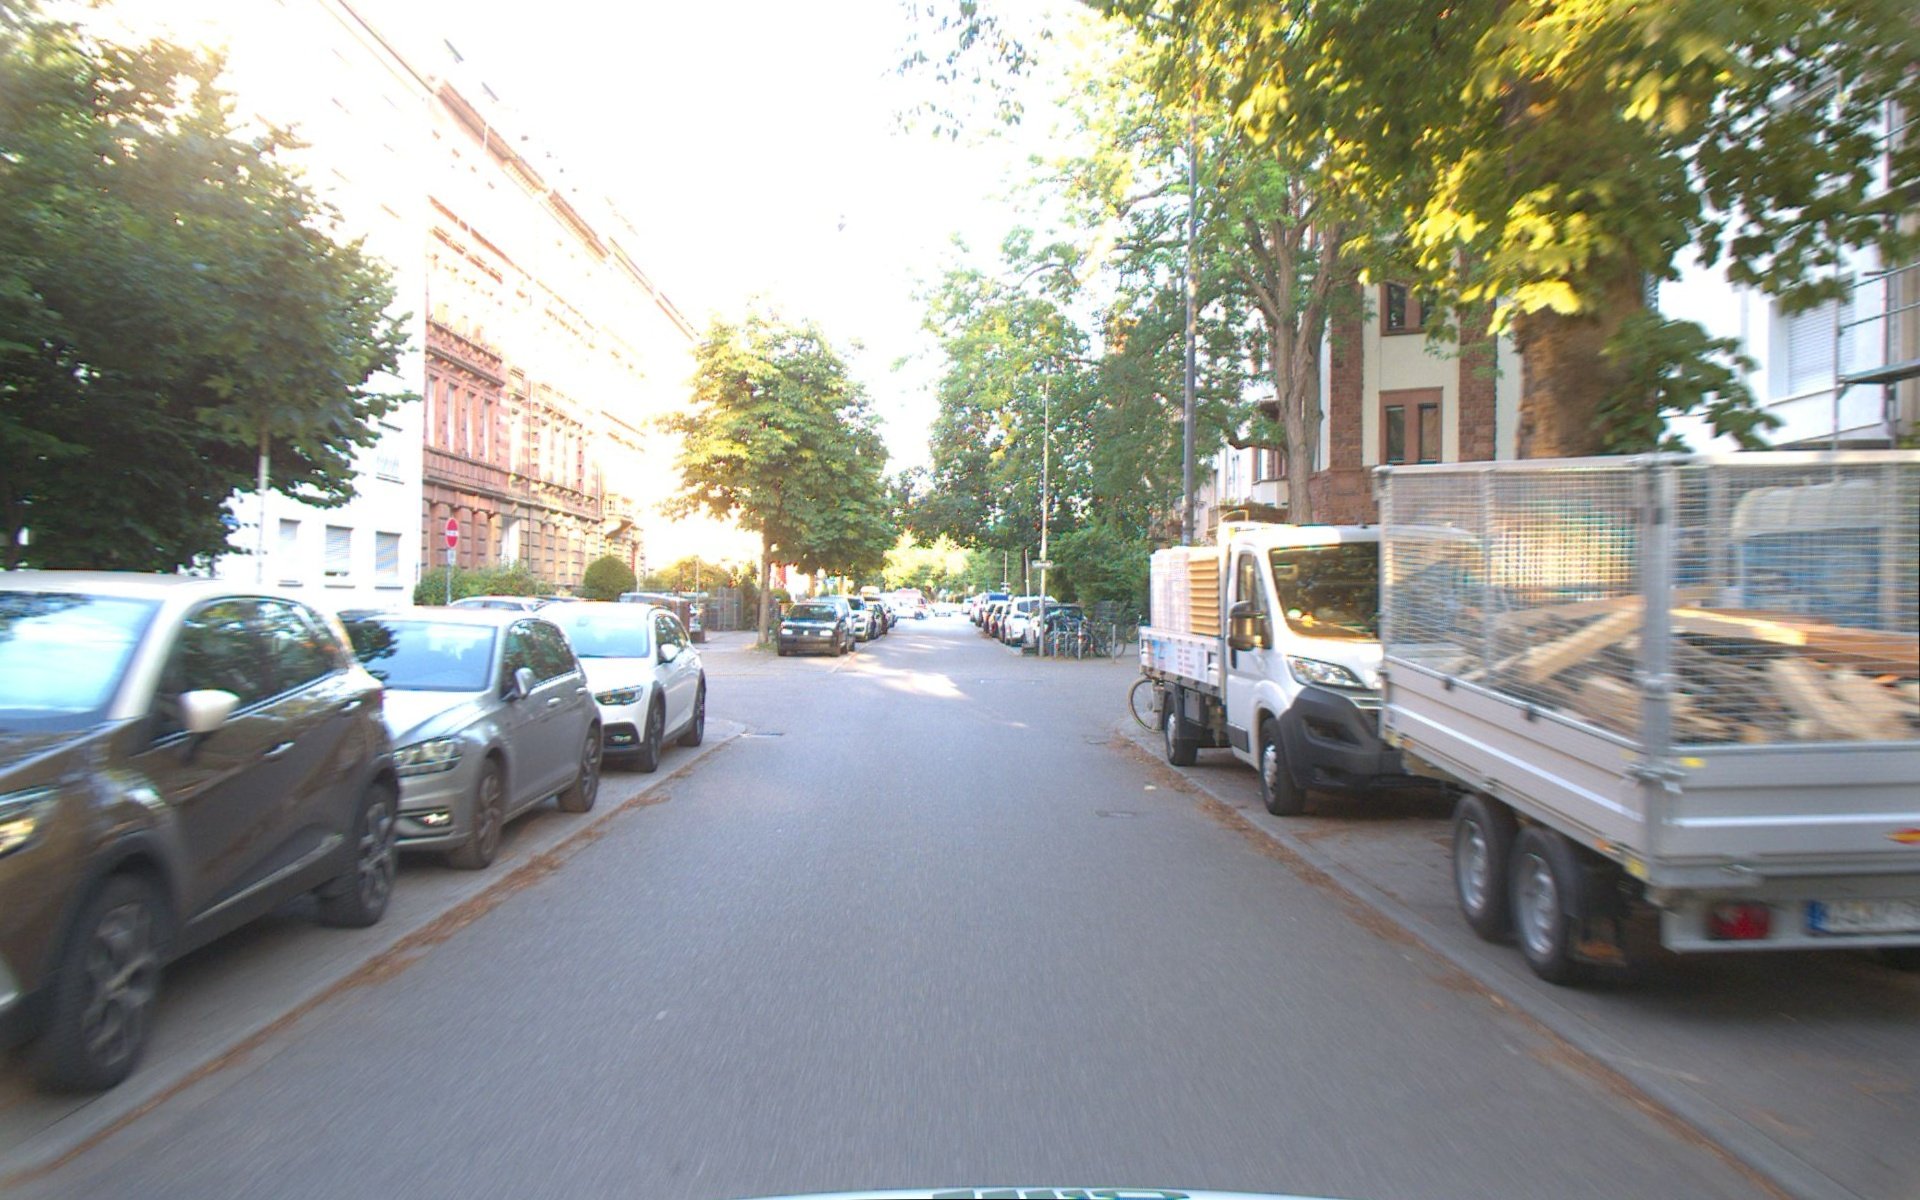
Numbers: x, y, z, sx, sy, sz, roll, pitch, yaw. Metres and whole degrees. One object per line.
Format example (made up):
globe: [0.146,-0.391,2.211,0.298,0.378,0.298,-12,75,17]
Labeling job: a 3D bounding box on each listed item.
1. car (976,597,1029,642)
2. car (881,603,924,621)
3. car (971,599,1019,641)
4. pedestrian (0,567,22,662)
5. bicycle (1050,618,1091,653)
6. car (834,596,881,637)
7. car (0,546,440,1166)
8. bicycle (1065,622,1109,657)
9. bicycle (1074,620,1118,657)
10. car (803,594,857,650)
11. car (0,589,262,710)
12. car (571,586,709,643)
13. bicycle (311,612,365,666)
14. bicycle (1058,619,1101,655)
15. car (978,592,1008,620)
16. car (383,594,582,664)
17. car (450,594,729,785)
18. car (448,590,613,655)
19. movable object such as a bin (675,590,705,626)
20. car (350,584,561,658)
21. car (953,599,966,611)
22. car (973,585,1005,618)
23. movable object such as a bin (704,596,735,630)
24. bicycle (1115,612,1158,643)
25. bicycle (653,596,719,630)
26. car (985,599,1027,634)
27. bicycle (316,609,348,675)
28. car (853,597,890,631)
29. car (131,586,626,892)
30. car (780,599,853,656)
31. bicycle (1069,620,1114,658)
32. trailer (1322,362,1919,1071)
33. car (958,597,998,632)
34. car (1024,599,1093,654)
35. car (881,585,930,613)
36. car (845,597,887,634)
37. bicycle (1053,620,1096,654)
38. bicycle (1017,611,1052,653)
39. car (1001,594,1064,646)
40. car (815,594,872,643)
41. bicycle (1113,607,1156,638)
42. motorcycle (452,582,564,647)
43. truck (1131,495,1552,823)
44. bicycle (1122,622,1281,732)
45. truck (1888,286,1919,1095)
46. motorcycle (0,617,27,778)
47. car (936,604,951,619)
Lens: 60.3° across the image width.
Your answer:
car: [1.565,0.742,62.771,1.653,1.634,4.207,1,-1,-3]
car: [-4.884,1.037,140.675,3.547,1.487,1.605,1,0,-5]
car: [1.381,0.808,67.342,1.653,1.634,3.746,1,-1,-3]
pedestrian: [-17.662,0.255,30.471,0.527,1.711,0.579,2,2,-21]
bicycle: [3.209,1.025,48.141,1.210,0.968,0.327,0,1,-29]
car: [-4.137,0.684,67.022,1.681,1.594,3.780,1,-1,-1]
car: [-3.353,0.615,5.980,1.656,1.591,4.400,3,0,-3]
bicycle: [3.567,1.108,46.441,1.205,0.980,0.329,0,1,-18]
bicycle: [3.774,1.061,45.911,1.200,1.005,0.330,-1,1,-4]
car: [-4.004,0.659,51.160,1.564,1.631,3.741,1,0,-4]
car: [-12.157,0.649,22.810,4.372,1.579,1.705,0,1,-11]
car: [-10.249,0.460,53.179,4.011,1.554,1.708,4,0,-2]
bicycle: [-12.782,0.787,34.025,0.387,1.081,1.878,1,0,0]
bicycle: [3.375,1.048,46.831,1.207,0.974,0.328,0,1,-23]
car: [1.928,0.362,97.035,1.508,1.548,3.429,1,-1,-3]
car: [-11.006,0.639,38.238,4.005,1.472,1.819,1,1,9]
car: [-3.488,0.758,16.466,1.655,1.528,4.738,3,0,0]
car: [-10.585,0.533,40.895,3.487,1.472,1.819,1,1,8]
movable object such as a bin: [-11.240,0.338,68.861,1.078,1.439,1.001,3,1,-15]
car: [-10.904,0.427,35.833,4.005,1.472,1.710,1,1,8]
car: [-0.080,0.759,240.253,1.681,1.624,3.482,1,0,-1]
car: [1.744,0.113,101.022,1.646,1.975,3.878,1,-1,-3]
movable object such as a bin: [-10.037,0.522,69.048,0.991,1.344,1.005,3,1,4]
bicycle: [6.158,0.958,57.735,1.479,1.052,0.330,-1,1,-3]
bicycle: [-11.031,0.518,66.584,2.475,1.212,0.644,3,0,5]
car: [1.995,0.730,72.658,1.652,1.466,4.208,-1,0,-1]
bicycle: [-11.619,0.762,30.597,0.361,1.172,1.836,1,0,-26]
car: [-4.410,0.701,82.883,1.681,1.624,4.518,1,0,-1]
car: [-3.382,0.727,10.572,1.655,1.528,4.401,1,-1,-1]
car: [-3.970,0.744,46.280,1.583,1.496,3.962,1,0,2]
bicycle: [3.621,1.064,45.521,1.199,1.004,0.330,-1,1,-3]
trailer: [3.260,0.359,7.864,1.914,2.335,4.644,-2,0,-1]
car: [0.869,0.708,80.679,1.653,1.634,3.937,1,-1,-3]
car: [3.016,0.788,51.253,1.654,1.620,3.655,1,0,-5]
car: [-4.730,-0.091,143.425,4.262,2.358,1.745,1,0,-3]
car: [-4.150,0.676,73.800,1.681,1.594,3.787,1,0,-1]
bicycle: [3.296,1.065,47.529,1.207,0.964,0.328,0,1,-23]
bicycle: [2.176,0.932,48.348,0.434,1.193,1.635,1,0,24]
car: [2.475,0.674,57.407,1.762,1.741,4.598,0,0,-3]
car: [-4.343,0.679,62.247,1.882,1.747,4.427,1,0,-1]
bicycle: [6.148,0.788,58.361,1.479,1.052,0.330,-1,1,-3]
motorcycle: [-11.971,0.377,43.779,2.791,1.667,0.675,1,0,7]
truck: [3.028,0.440,14.947,1.937,2.284,6.772,0,0,-3]
bicycle: [2.990,0.947,20.510,1.866,1.280,0.406,-2,0,-7]
truck: [3.672,0.262,2.445,1.914,2.285,4.644,-2,1,0]
motorcycle: [-7.338,0.740,11.036,0.570,1.176,2.891,3,1,-1]
car: [-1.910,1.340,191.133,1.776,1.624,3.482,1,0,-1]
